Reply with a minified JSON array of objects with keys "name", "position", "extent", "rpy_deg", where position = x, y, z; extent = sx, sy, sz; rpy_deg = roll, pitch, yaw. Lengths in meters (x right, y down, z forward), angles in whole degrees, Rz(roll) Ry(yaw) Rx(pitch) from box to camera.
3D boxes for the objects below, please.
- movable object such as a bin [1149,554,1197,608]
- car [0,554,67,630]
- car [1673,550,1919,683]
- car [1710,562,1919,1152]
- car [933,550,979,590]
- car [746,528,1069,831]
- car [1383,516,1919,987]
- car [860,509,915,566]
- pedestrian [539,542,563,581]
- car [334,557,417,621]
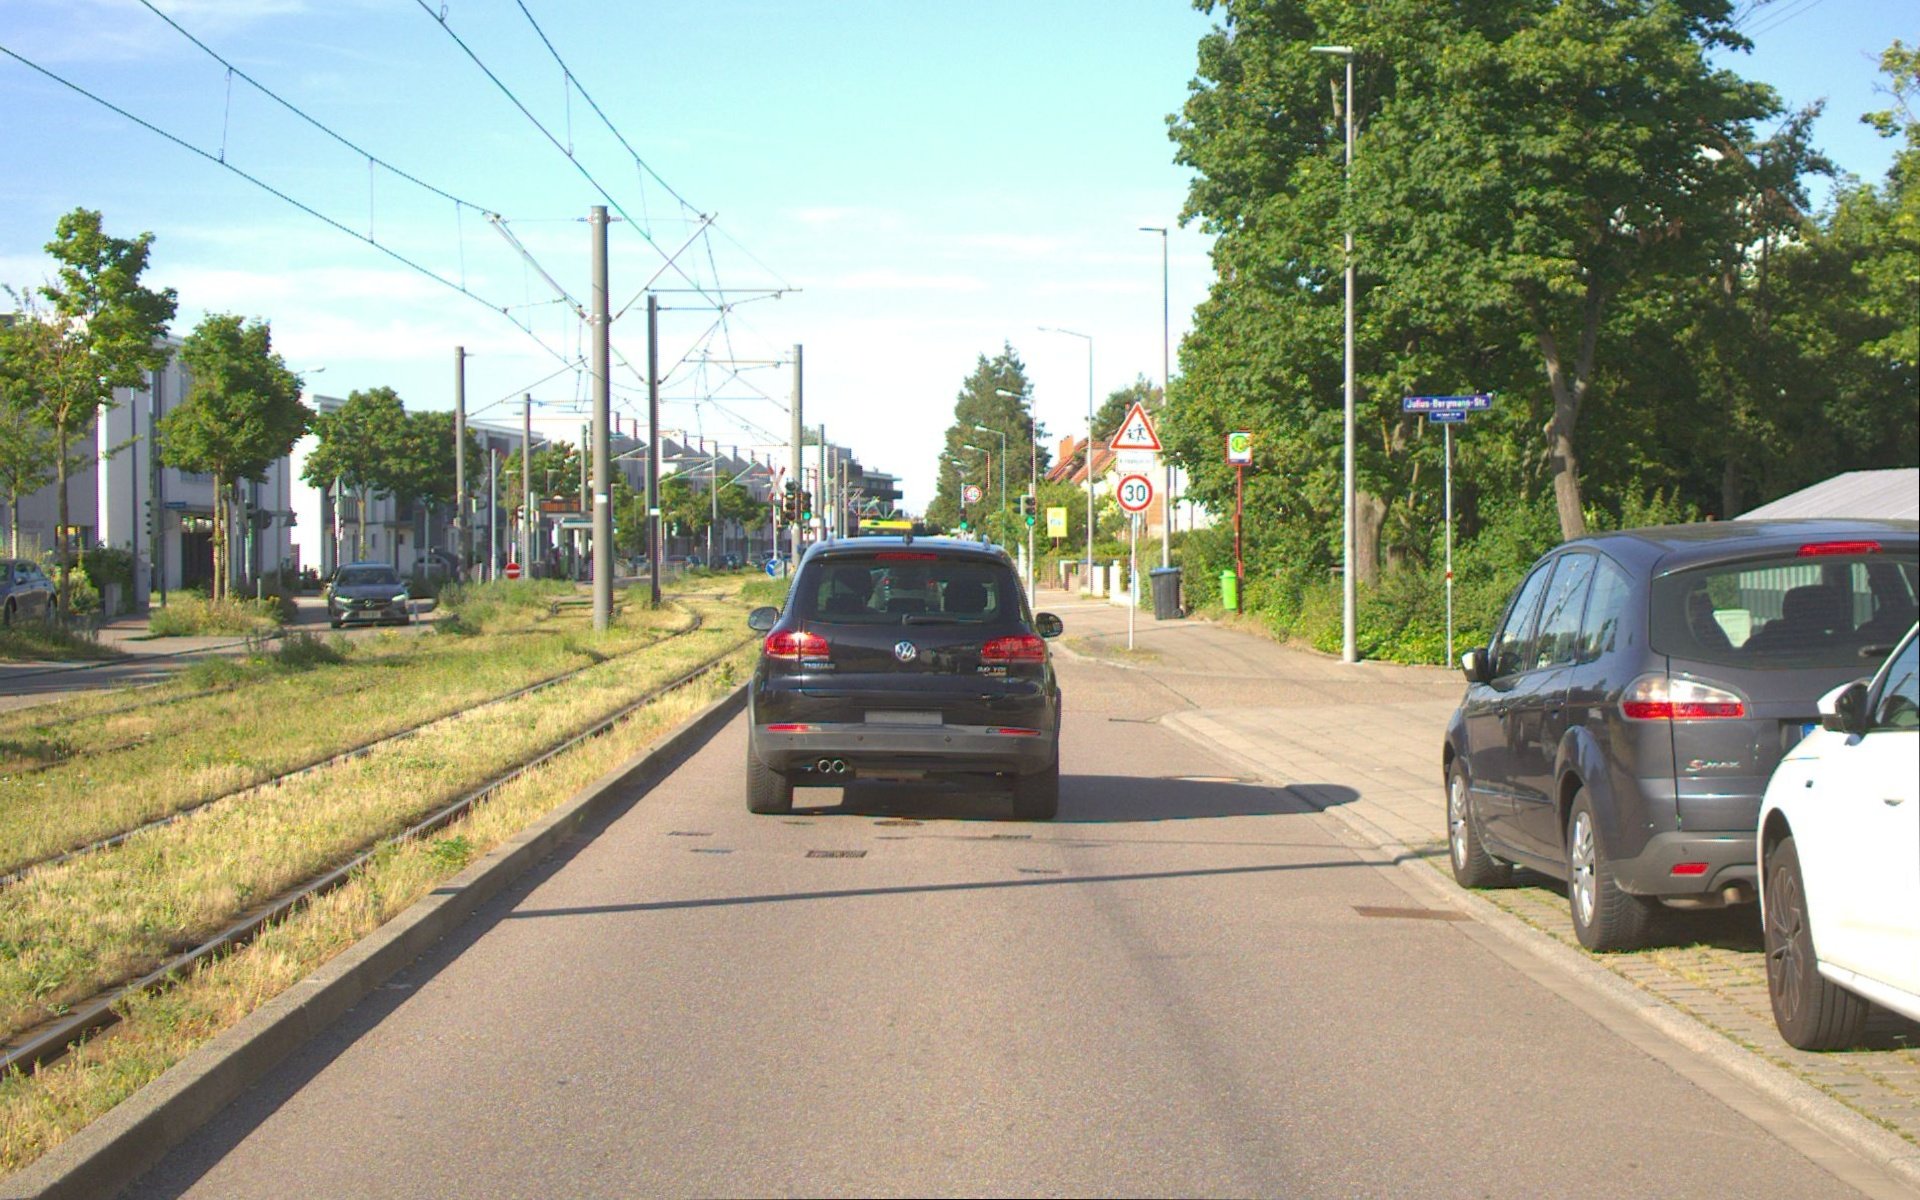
[{"name":"movable object such as a bin","position":[4.459,-0.399,71.888],"extent":[0.976,1.107,1.170],"rpy_deg":[0,1,3]},{"name":"car","position":[-19.377,-0.179,68.455],"extent":[1.811,1.456,4.317],"rpy_deg":[1,1,4]},{"name":"car","position":[10.399,0.185,40.669],"extent":[3.594,1.525,1.647],"rpy_deg":[0,0,1]},{"name":"car","position":[3.269,0.643,9.225],"extent":[1.656,1.487,4.159],"rpy_deg":[-1,1,1]},{"name":"car","position":[-0.175,-1.305,146.270],"extent":[1.775,1.664,4.001],"rpy_deg":[0,1,-3]},{"name":"car","position":[-0.387,0.421,21.274],"extent":[1.775,1.664,4.001],"rpy_deg":[1,1,-3]},{"name":"car","position":[3.096,0.496,14.651],"extent":[1.791,1.623,4.861],"rpy_deg":[-2,1,-2]},{"name":"car","position":[-3.314,-2.868,157.839],"extent":[2.394,2.556,5.530],"rpy_deg":[0,1,0]},{"name":"pedestrian","position":[-16.837,-1.591,141.523],"extent":[0.881,1.581,0.628],"rpy_deg":[0,1,-19]},{"name":"car","position":[-13.594,-0.275,80.145],"extent":[1.688,1.384,4.389],"rpy_deg":[-2,1,-7]}]
